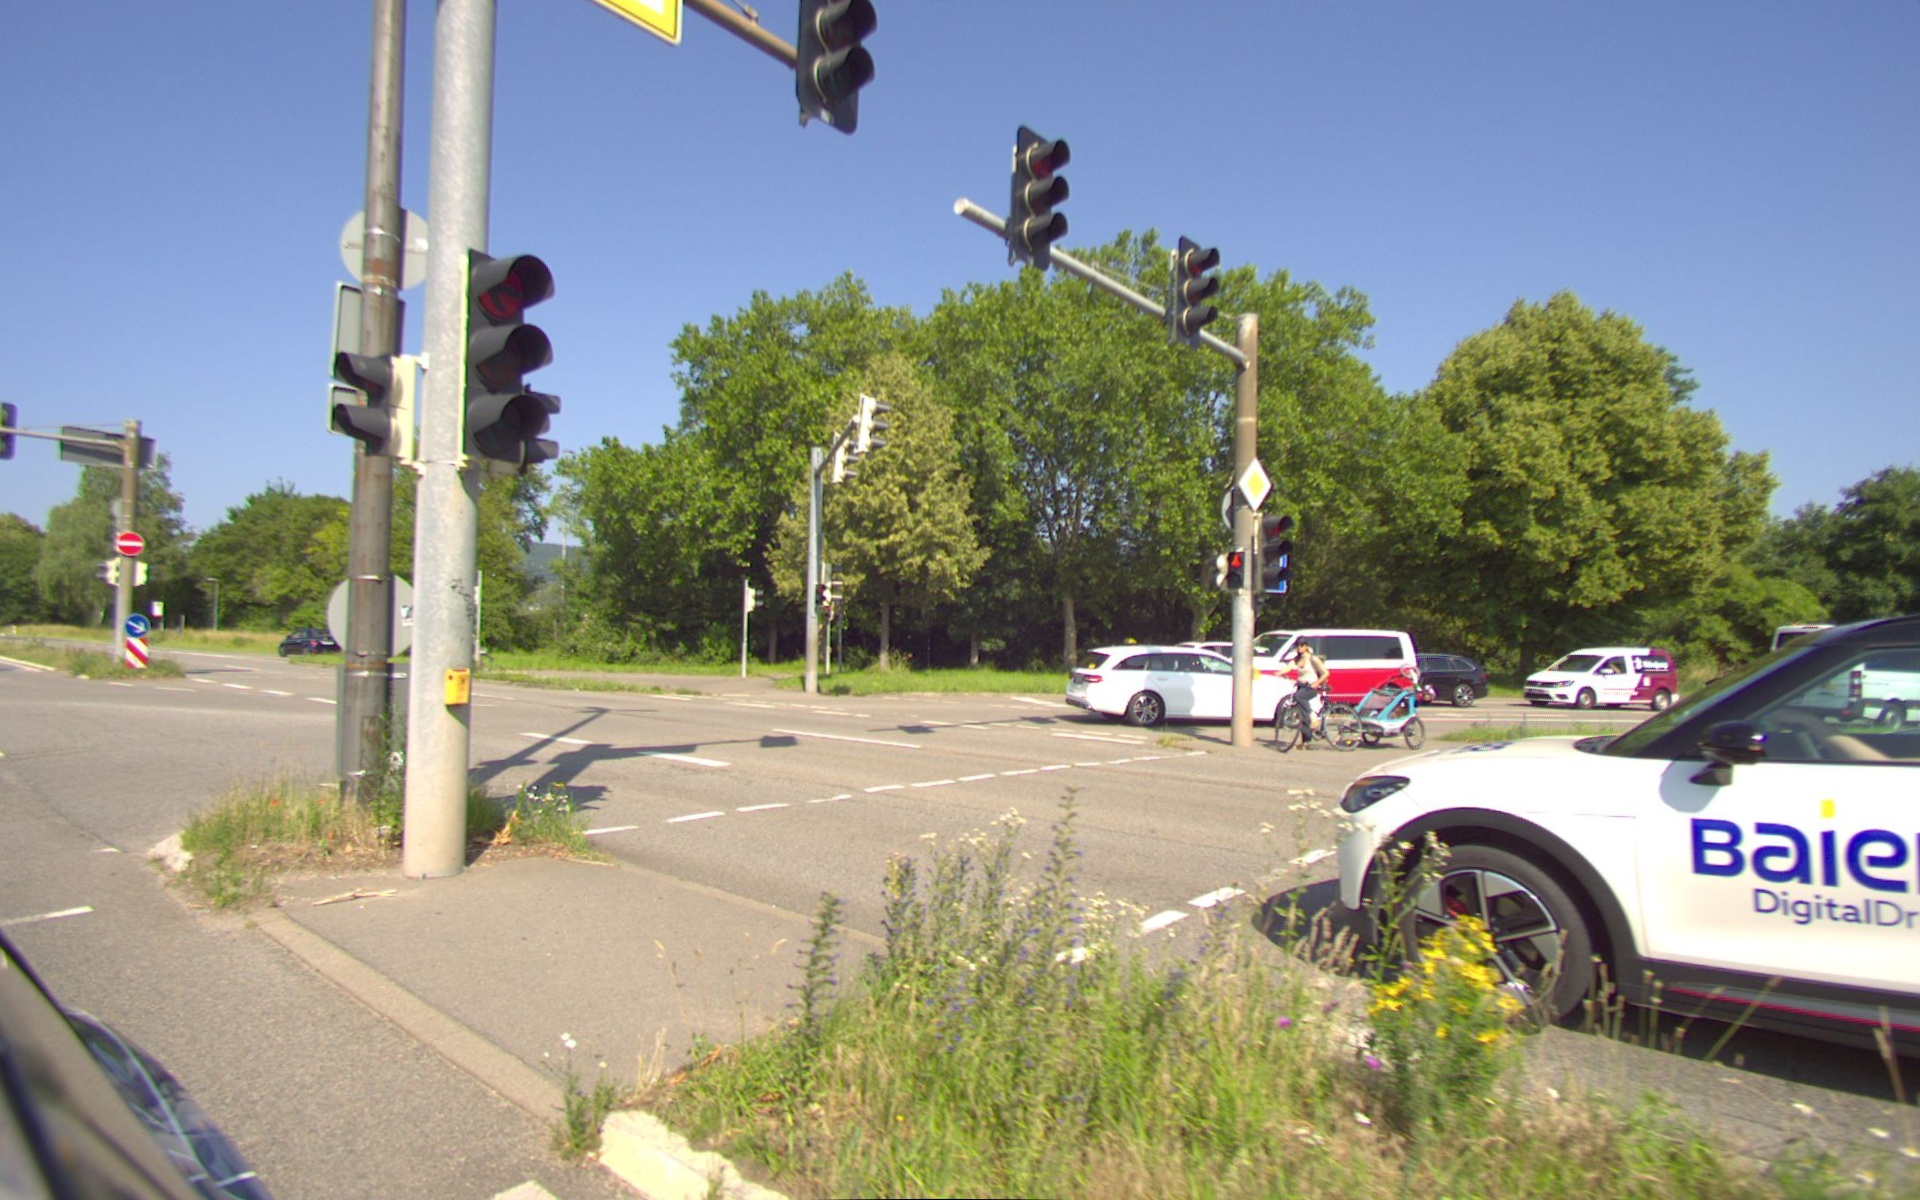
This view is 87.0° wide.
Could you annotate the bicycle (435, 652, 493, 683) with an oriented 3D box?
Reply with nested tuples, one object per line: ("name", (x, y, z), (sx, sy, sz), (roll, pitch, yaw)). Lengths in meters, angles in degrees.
("bicycle", (-17.351, 2.343, 35.404), (1.656, 1.049, 0.748), (2, -3, -44))

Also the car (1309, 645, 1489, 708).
("car", (12.093, 2.100, 27.996), (4.196, 1.618, 2.010), (2, -3, -13))

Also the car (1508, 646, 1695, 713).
("car", (18.498, 2.277, 29.265), (4.432, 1.814, 2.010), (2, -3, -13))

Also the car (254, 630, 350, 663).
("car", (-33.496, 2.348, 51.542), (4.255, 1.506, 1.985), (1, -2, 22))

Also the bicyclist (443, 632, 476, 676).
("bicyclist", (-17.454, 1.874, 35.307), (0.836, 1.529, 0.748), (2, -3, -44))

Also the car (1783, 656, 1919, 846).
("car", (8.613, 1.197, 7.566), (3.760, 1.425, 1.470), (-1, -6, 41))

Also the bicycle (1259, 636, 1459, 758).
("bicycle", (5.975, 1.399, 15.166), (2.752, 1.683, 1.139), (1, -2, -22))

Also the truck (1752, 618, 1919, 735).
("truck", (21.387, 1.687, 22.754), (5.939, 2.407, 2.387), (1, -3, -14))

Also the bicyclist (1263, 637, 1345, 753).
("bicyclist", (5.062, 1.374, 14.921), (0.850, 1.631, 0.761), (1, -1, -21))

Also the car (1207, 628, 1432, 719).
("car", (8.343, 1.703, 23.600), (4.577, 1.965, 2.005), (2, -3, -14))

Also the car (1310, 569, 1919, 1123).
("car", (3.681, 0.758, 3.572), (4.208, 1.622, 1.989), (-2, -4, 40))

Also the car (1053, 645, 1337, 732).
("car", (4.396, 1.657, 19.216), (4.892, 1.475, 1.821), (2, -3, -8))

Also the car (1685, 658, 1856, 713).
("car", (24.414, 2.574, 30.539), (4.057, 1.524, 1.924), (2, -3, -13))

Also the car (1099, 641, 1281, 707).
("car", (5.997, 1.928, 26.567), (4.196, 1.618, 2.010), (2, -3, -13))
